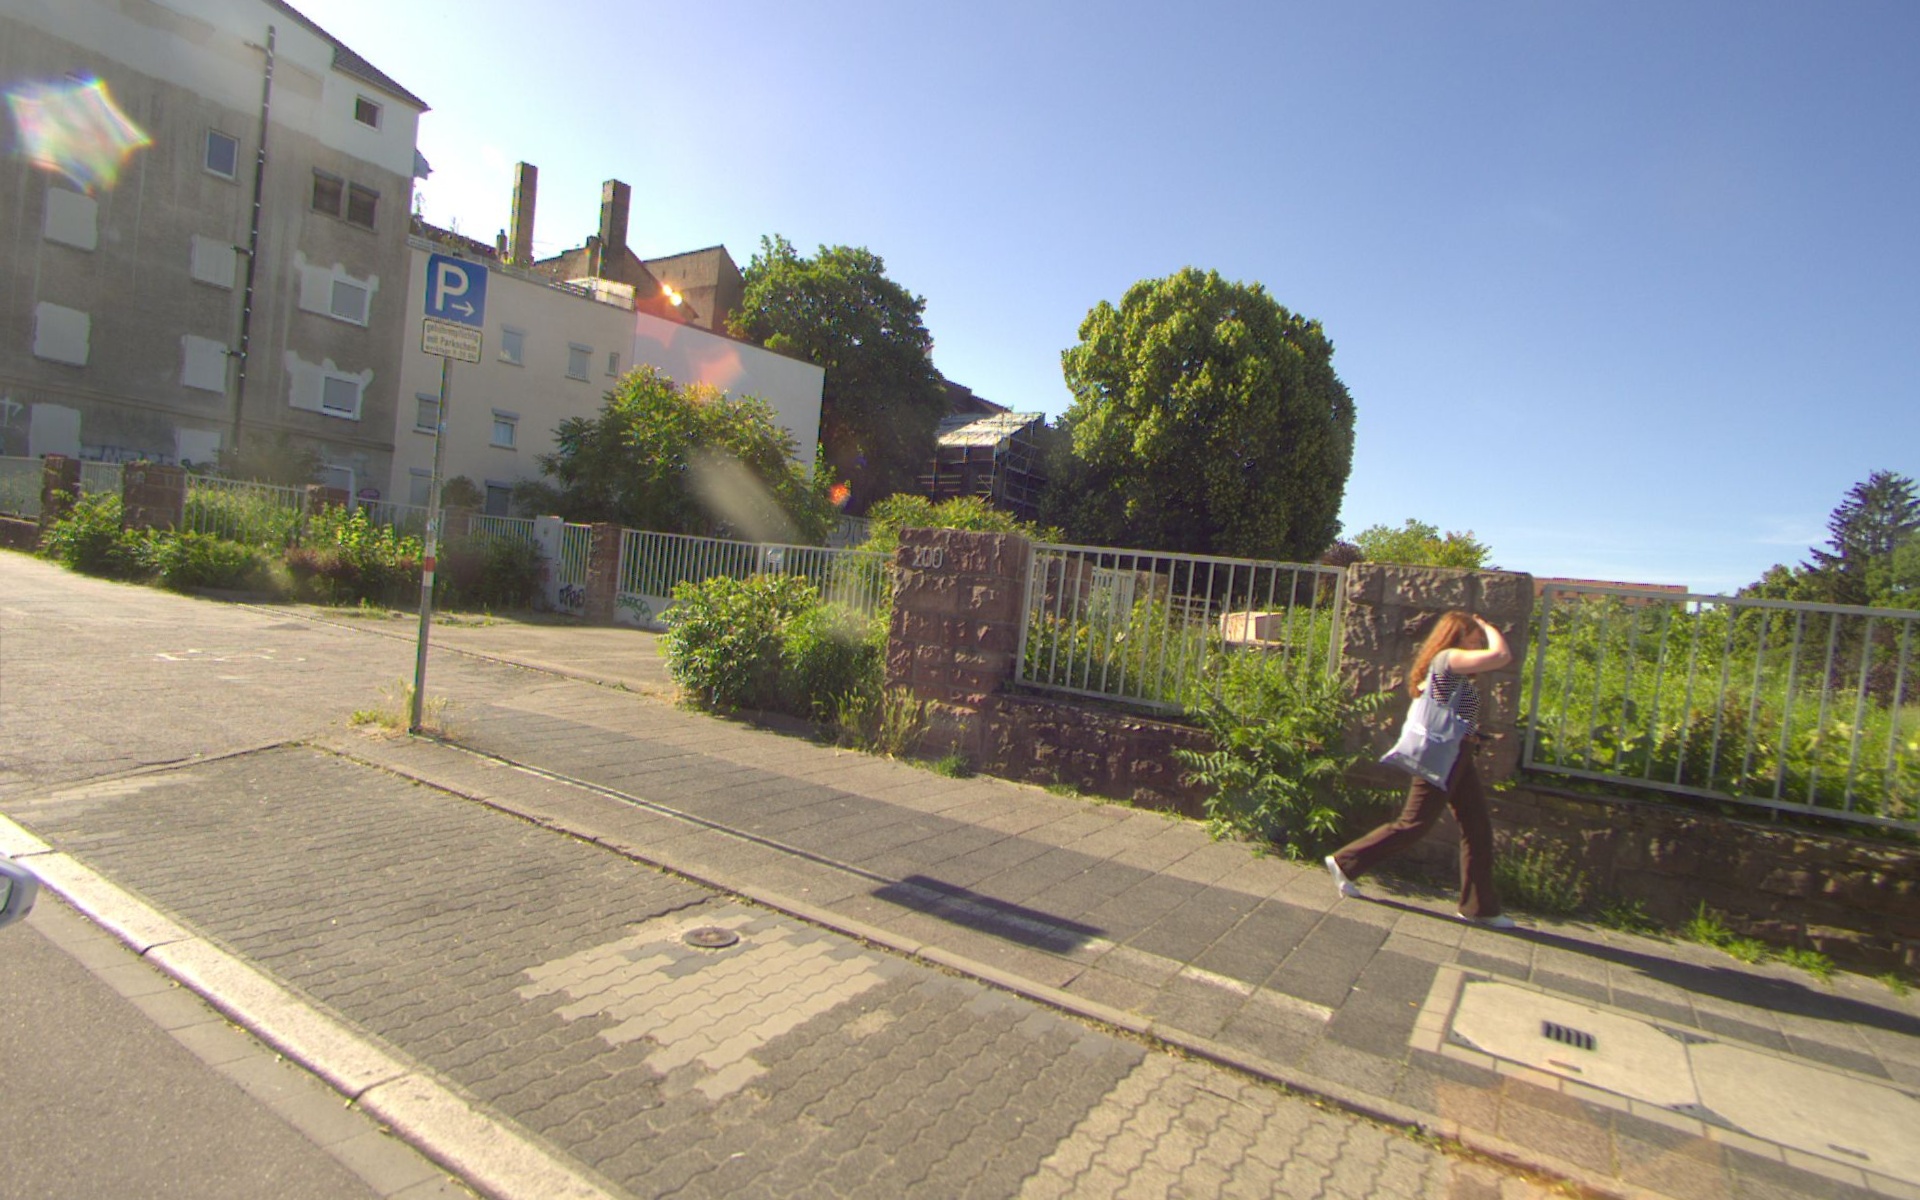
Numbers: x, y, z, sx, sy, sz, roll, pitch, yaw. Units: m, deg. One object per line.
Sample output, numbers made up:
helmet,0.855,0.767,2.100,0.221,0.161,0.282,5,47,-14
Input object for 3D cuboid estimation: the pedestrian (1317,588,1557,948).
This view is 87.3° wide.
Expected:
pedestrian,2.474,0.796,5.204,0.882,1.604,0.743,7,2,32
